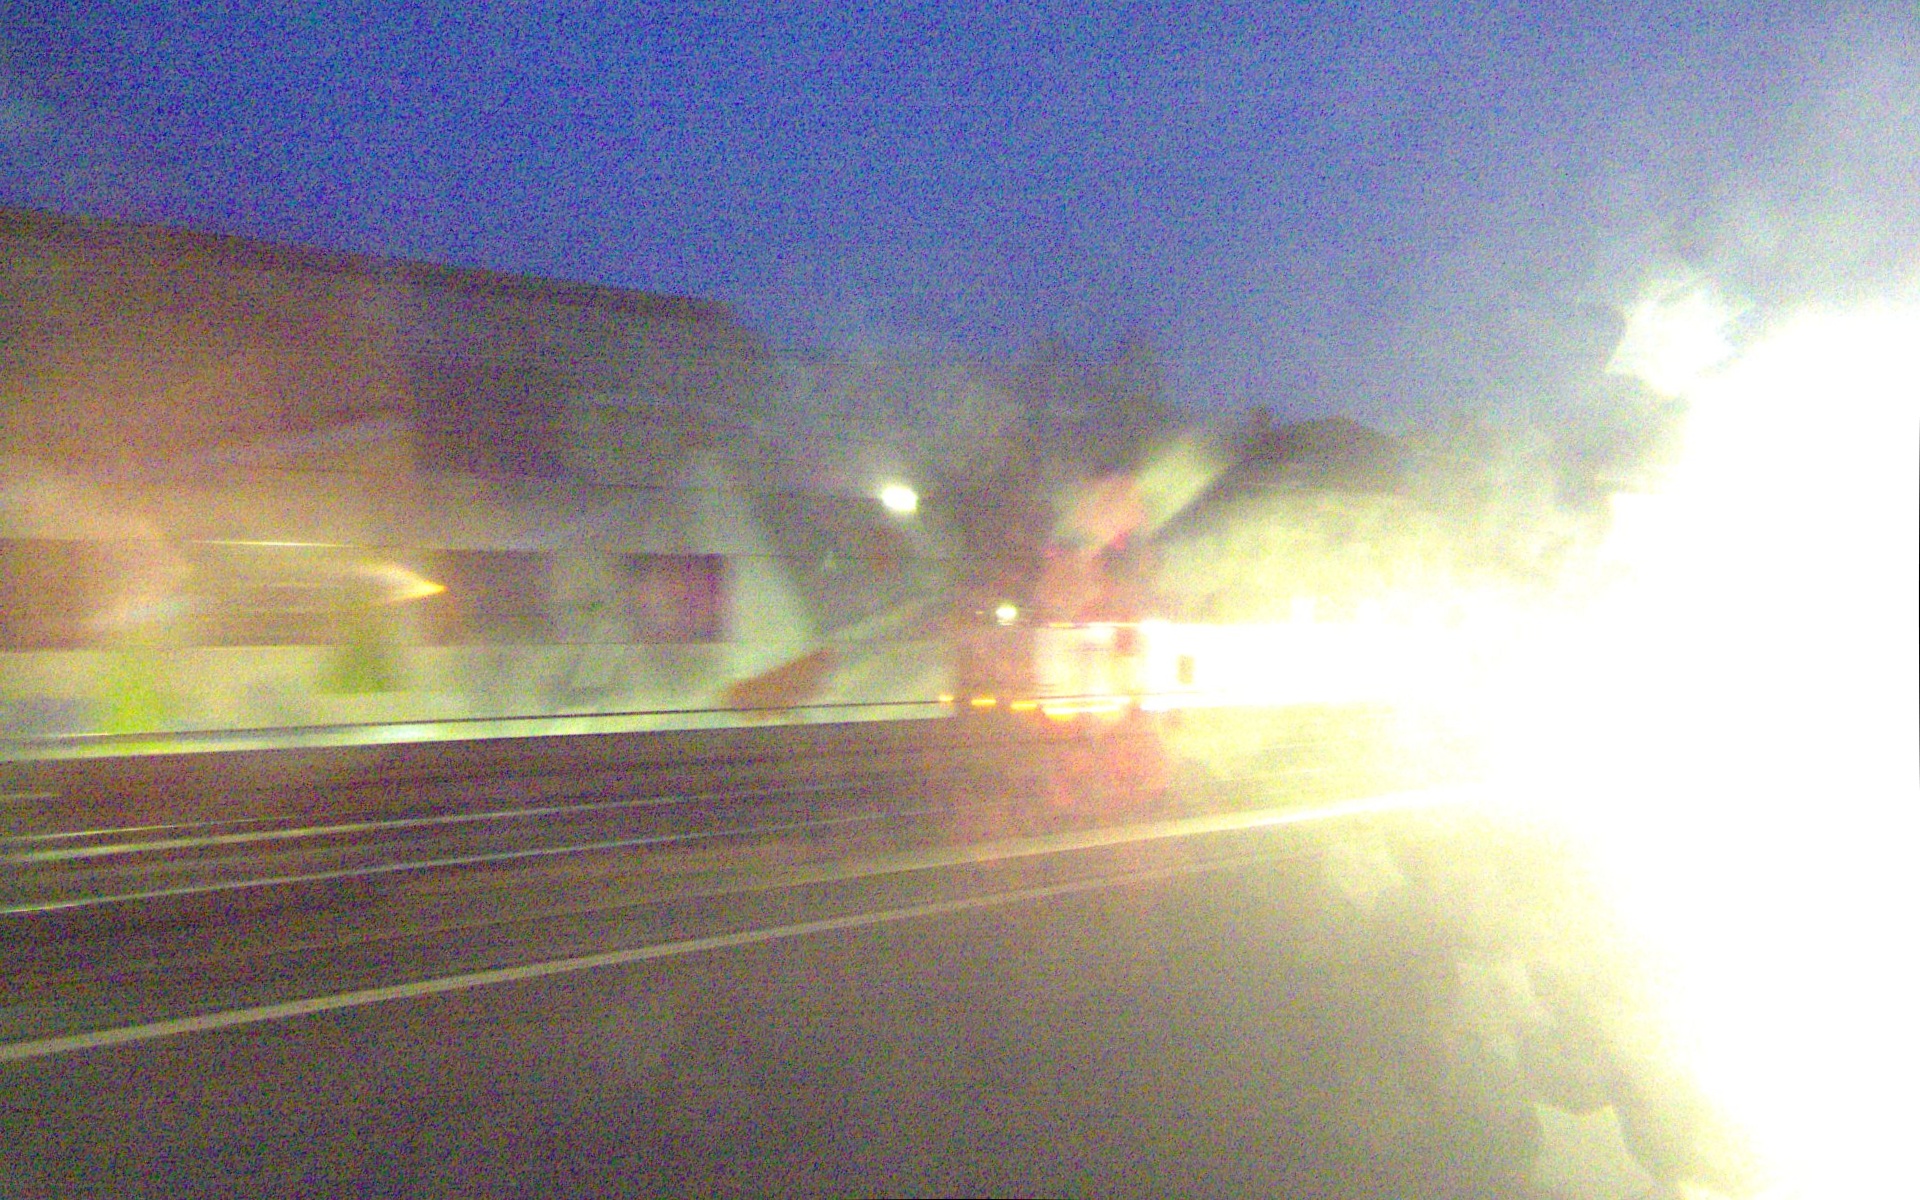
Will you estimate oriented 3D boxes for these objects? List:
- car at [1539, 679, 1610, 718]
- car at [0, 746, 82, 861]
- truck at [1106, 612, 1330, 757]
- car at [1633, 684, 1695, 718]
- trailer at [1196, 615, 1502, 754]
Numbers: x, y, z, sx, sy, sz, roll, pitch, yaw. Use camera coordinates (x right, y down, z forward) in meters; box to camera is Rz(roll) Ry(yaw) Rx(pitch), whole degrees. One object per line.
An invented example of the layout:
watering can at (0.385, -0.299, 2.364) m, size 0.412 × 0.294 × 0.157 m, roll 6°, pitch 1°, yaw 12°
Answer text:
car at (32.069, 5.096, 52.380) m, size 4.255 × 1.698 × 1.794 m, roll 2°, pitch 0°, yaw -39°
car at (-18.081, 3.581, 17.224) m, size 4.243 × 1.698 × 1.799 m, roll 2°, pitch 0°, yaw -31°
truck at (9.396, 2.983, 36.760) m, size 7.203 × 4.860 × 3.325 m, roll 2°, pitch 0°, yaw -18°
car at (40.436, 5.755, 57.664) m, size 4.256 × 1.591 × 1.794 m, roll 2°, pitch 0°, yaw -39°
trailer at (14.989, 3.142, 38.597) m, size 11.372 × 4.860 × 3.325 m, roll 2°, pitch 0°, yaw -18°
